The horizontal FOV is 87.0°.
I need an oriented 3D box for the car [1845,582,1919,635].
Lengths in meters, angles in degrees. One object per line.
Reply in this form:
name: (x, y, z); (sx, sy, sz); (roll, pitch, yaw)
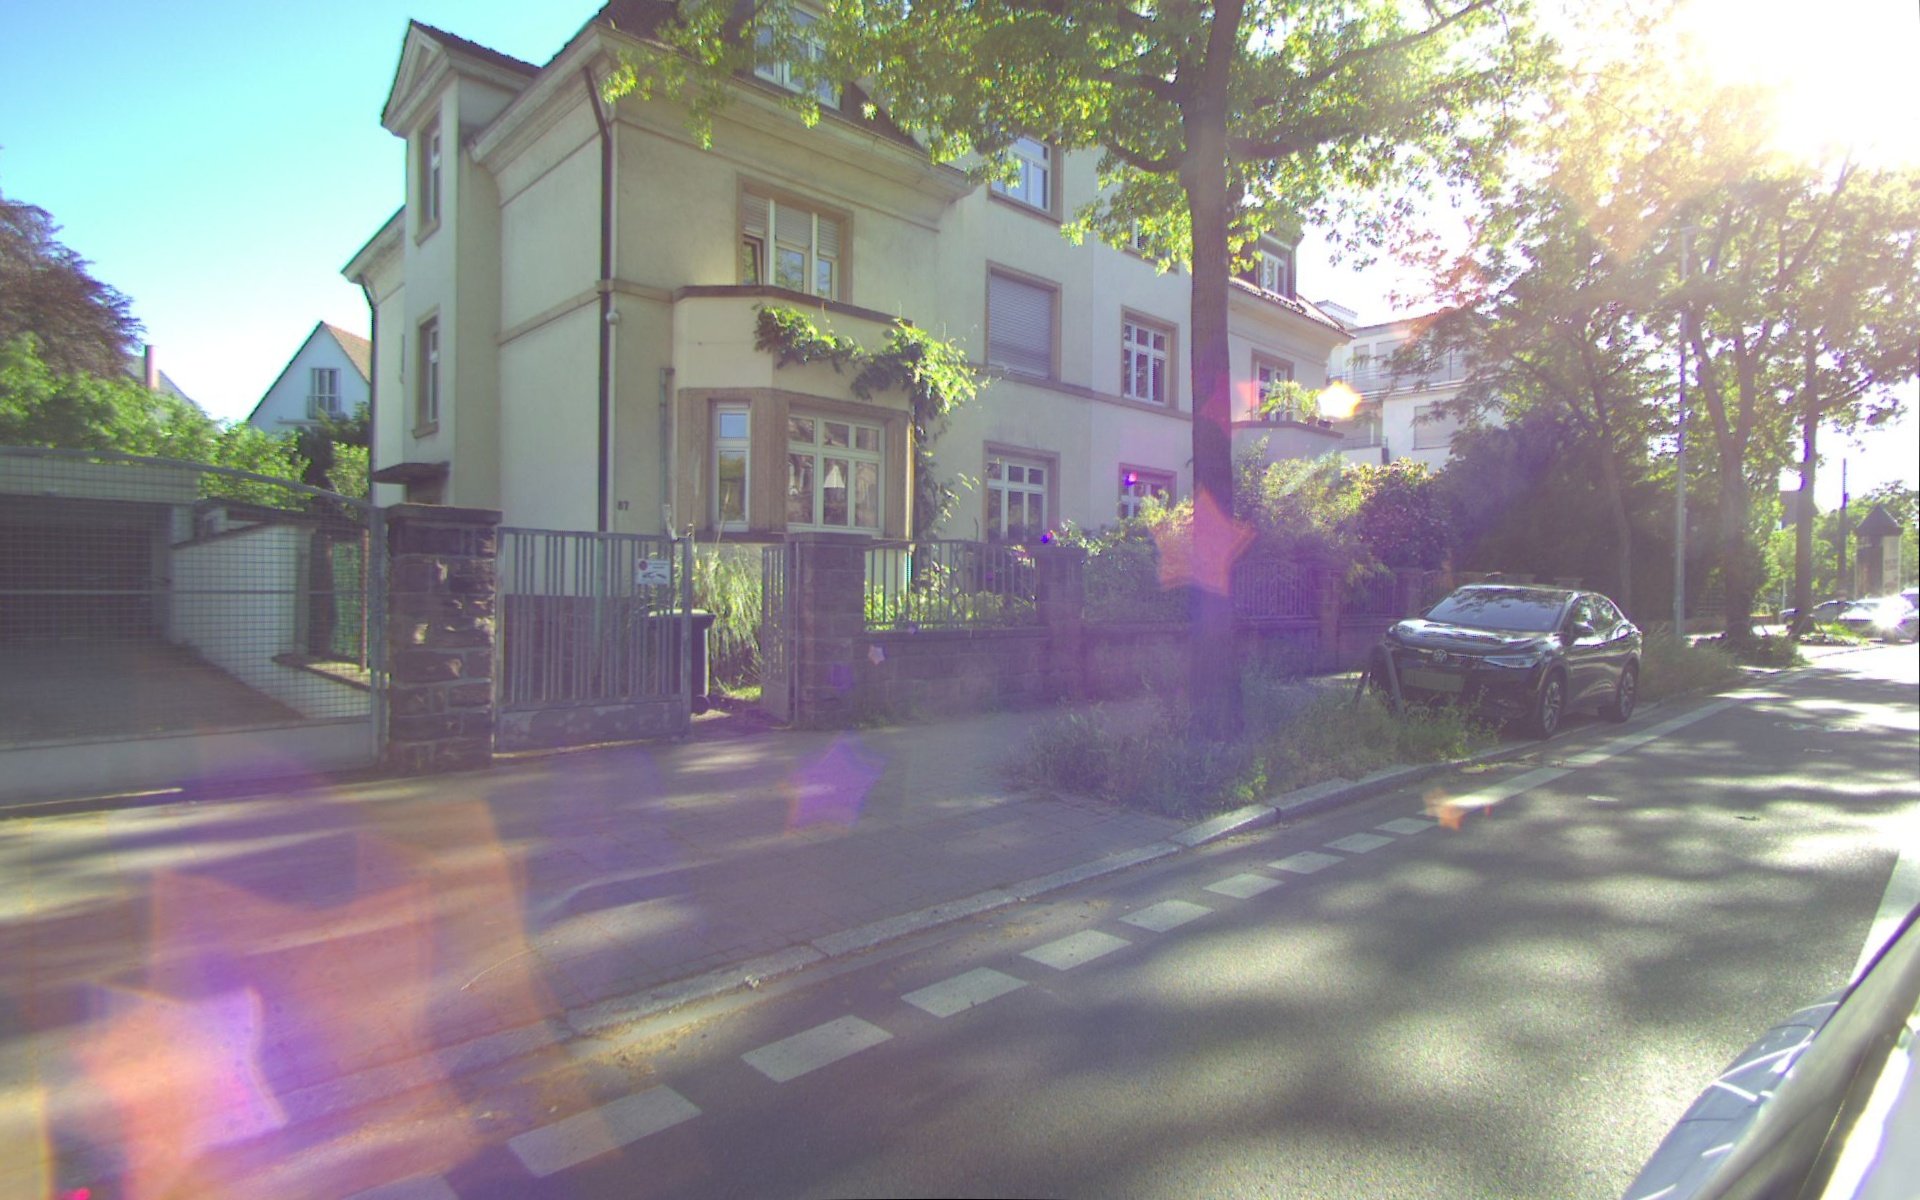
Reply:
car: (31.505, 0.253, 34.099); (3.927, 1.660, 1.824); (0, 1, -38)

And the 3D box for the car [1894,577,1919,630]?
car: (36.760, 0.130, 37.876); (4.663, 1.919, 2.128); (0, 1, -41)

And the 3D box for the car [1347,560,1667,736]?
car: (6.696, 0.479, 12.196); (4.304, 1.695, 1.997); (1, 2, -42)
